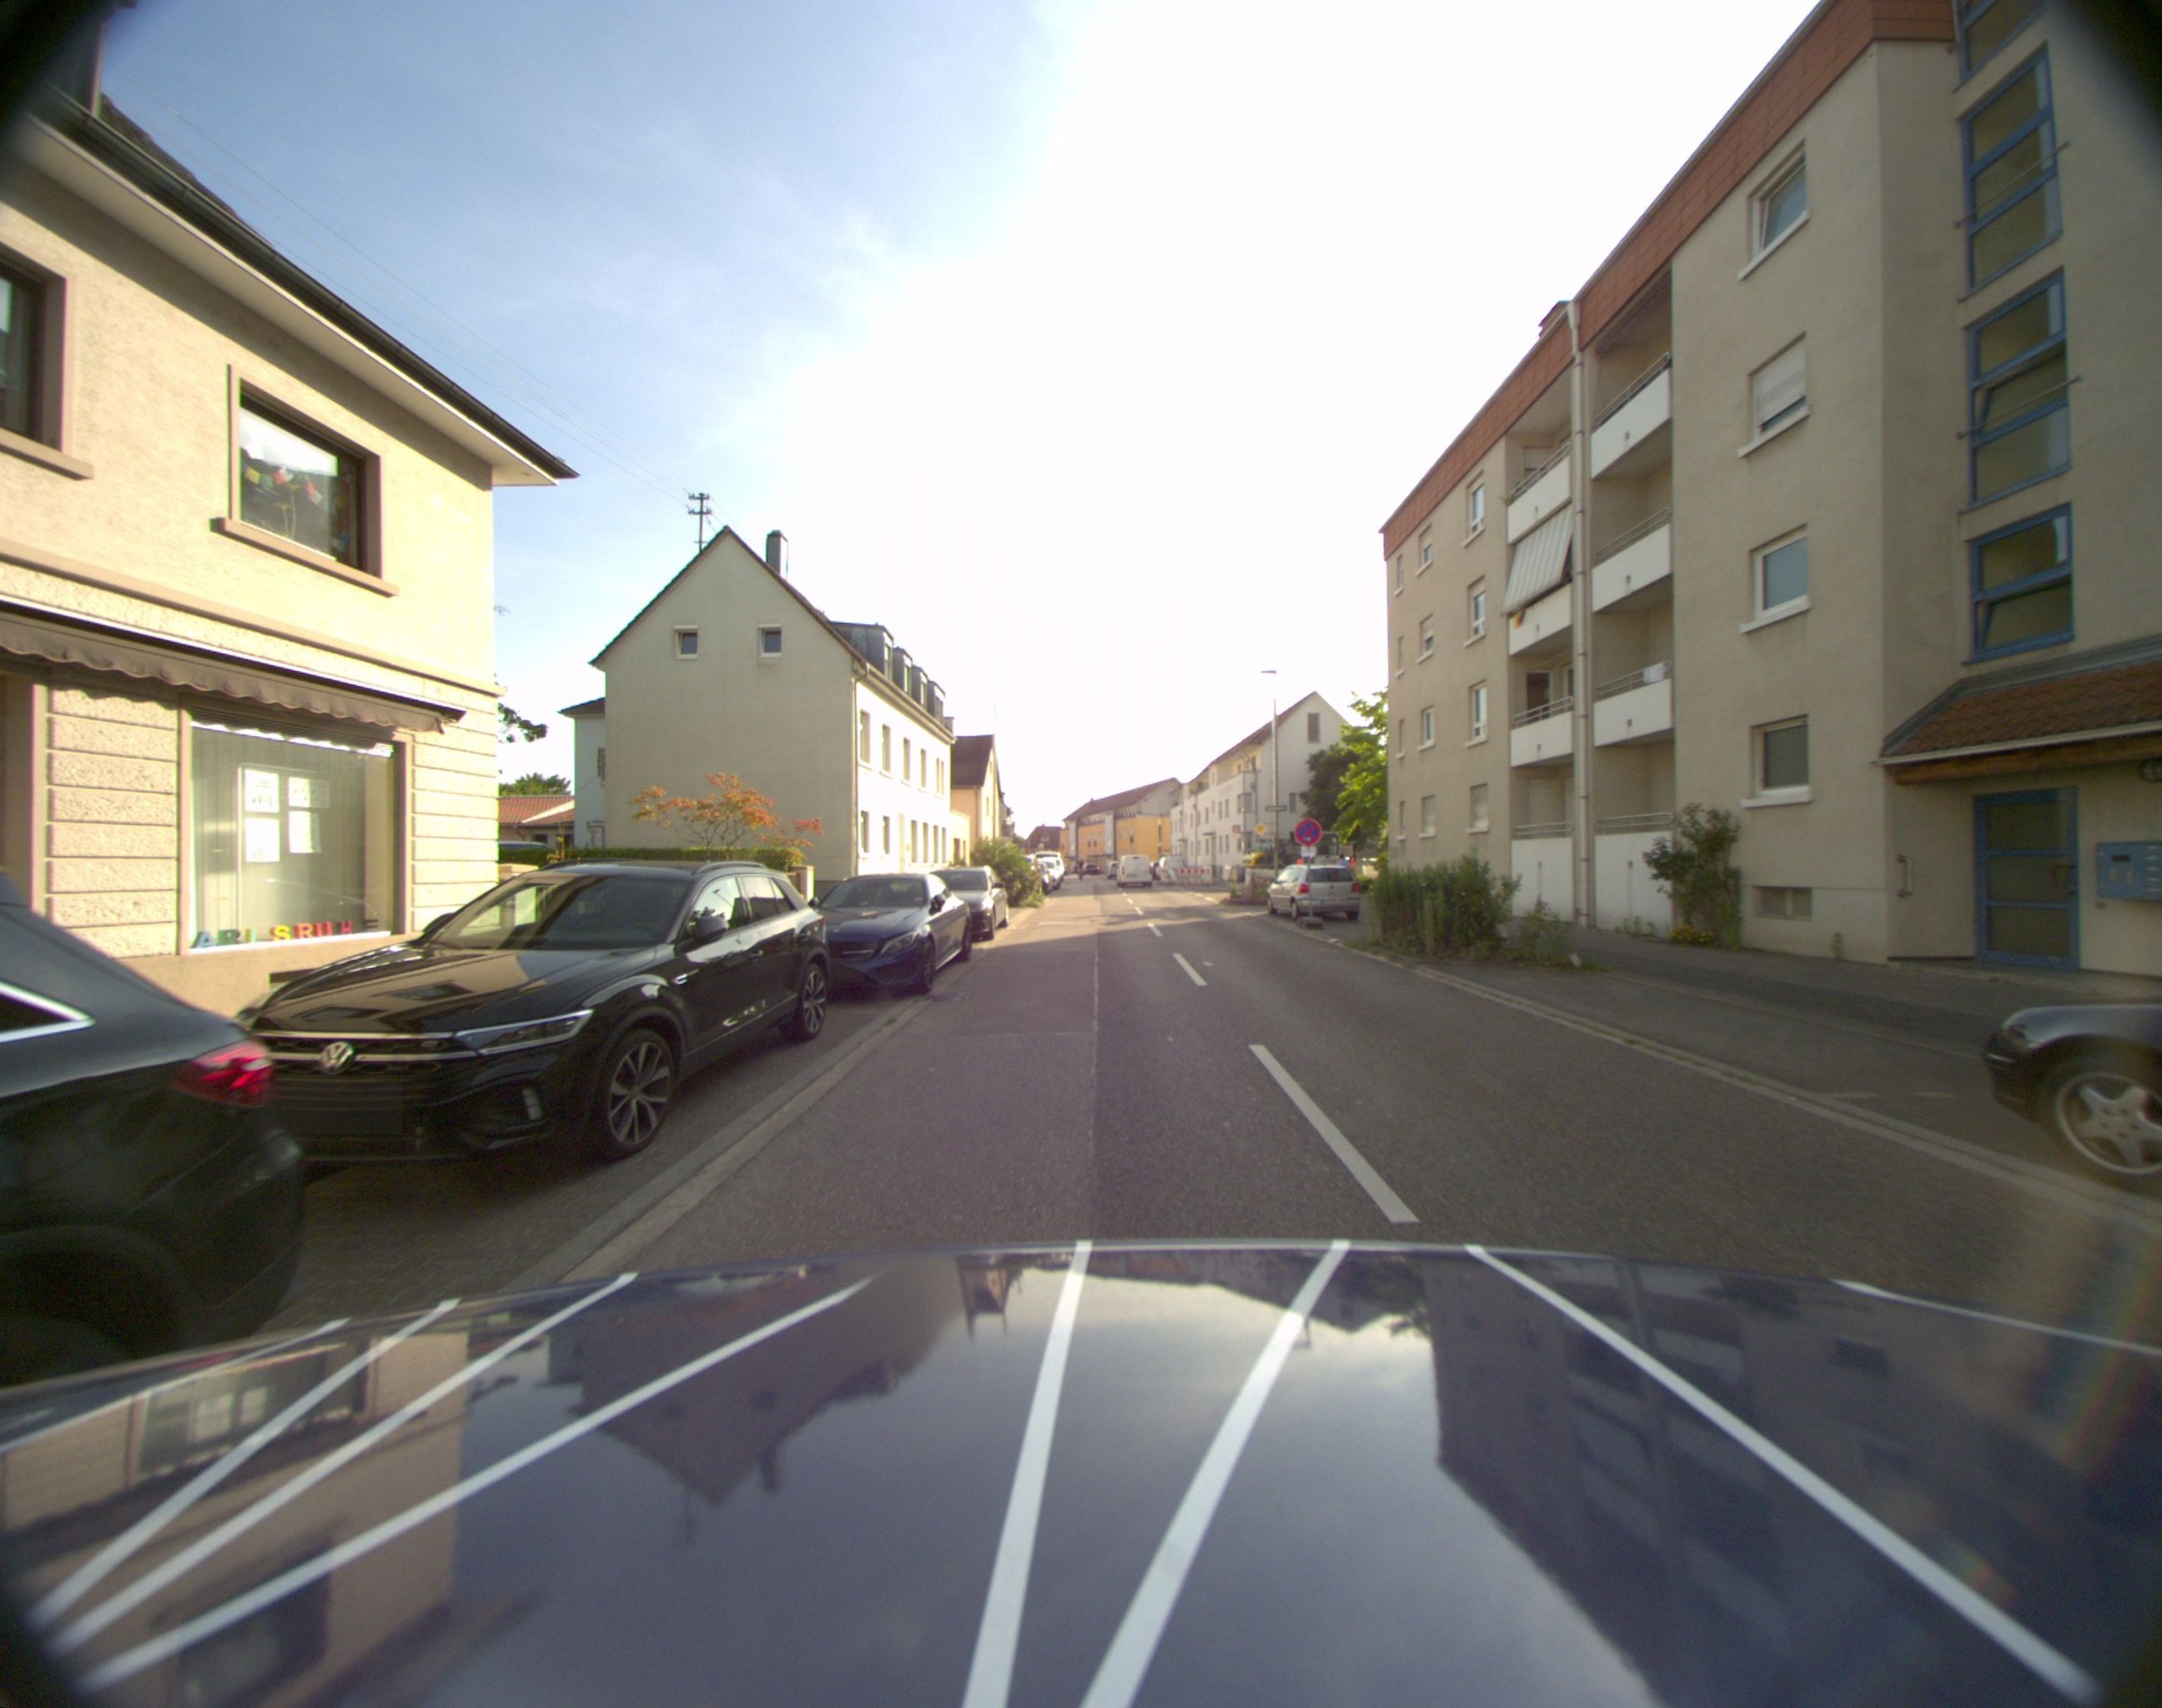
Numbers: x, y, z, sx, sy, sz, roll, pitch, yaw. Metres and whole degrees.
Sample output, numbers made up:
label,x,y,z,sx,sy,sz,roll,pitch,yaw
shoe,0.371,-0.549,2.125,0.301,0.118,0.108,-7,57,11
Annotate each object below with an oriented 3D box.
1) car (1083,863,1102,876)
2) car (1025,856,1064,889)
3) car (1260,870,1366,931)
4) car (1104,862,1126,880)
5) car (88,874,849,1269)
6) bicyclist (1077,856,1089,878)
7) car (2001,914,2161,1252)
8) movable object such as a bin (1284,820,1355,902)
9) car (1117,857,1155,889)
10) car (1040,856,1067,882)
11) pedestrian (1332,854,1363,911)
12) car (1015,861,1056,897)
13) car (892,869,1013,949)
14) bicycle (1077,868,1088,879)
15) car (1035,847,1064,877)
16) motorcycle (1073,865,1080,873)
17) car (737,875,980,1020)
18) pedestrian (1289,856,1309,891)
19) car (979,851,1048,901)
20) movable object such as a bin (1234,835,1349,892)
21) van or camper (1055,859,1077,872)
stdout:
label,x,y,z,sx,sy,sz,roll,pitch,yaw
car,1.259,1.753,86.034,1.835,1.411,4.208,0,0,-3
car,-1.939,0.981,41.789,1.816,1.673,4.477,1,0,1
car,6.018,1.151,20.103,1.644,1.387,3.671,-1,0,0
car,2.857,1.420,63.689,1.622,1.446,3.685,0,0,-1
car,-3.221,0.968,5.334,1.834,1.551,4.317,0,0,0
bicyclist,0.145,1.031,59.110,0.845,1.679,0.877,-1,0,-5
car,5.464,0.982,1.776,1.690,1.397,4.084,-1,0,1
movable object such as a bin,9.496,0.294,30.549,1.652,3.119,3.900,0,-1,0
car,3.161,1.075,44.432,1.927,1.756,4.338,1,0,0
car,-1.950,1.044,54.816,1.782,1.730,4.483,2,-1,0
pedestrian,8.724,0.927,24.886,0.720,1.807,0.745,-1,0,2
car,-2.117,1.145,36.493,1.593,1.519,4.614,1,0,1
car,-2.560,1.066,16.235,1.784,1.411,4.496,0,0,0
bicycle,0.135,1.489,59.057,0.680,0.849,2.026,0,0,-5
car,-2.444,0.671,60.998,2.180,2.313,4.997,1,-1,-1
motorcycle,-0.736,2.455,123.536,0.584,1.175,1.875,-1,-1,-19
car,-2.647,1.048,10.289,1.834,1.411,4.609,0,0,2
pedestrian,10.592,0.931,36.930,0.669,1.654,0.994,-1,0,2
car,-2.663,0.874,31.195,2.080,1.845,4.612,1,-1,4
movable object such as a bin,11.242,0.513,40.757,5.516,2.883,2.110,-1,-1,-11
van or camper,-2.358,1.794,116.817,2.001,1.991,4.914,-1,-1,-17
